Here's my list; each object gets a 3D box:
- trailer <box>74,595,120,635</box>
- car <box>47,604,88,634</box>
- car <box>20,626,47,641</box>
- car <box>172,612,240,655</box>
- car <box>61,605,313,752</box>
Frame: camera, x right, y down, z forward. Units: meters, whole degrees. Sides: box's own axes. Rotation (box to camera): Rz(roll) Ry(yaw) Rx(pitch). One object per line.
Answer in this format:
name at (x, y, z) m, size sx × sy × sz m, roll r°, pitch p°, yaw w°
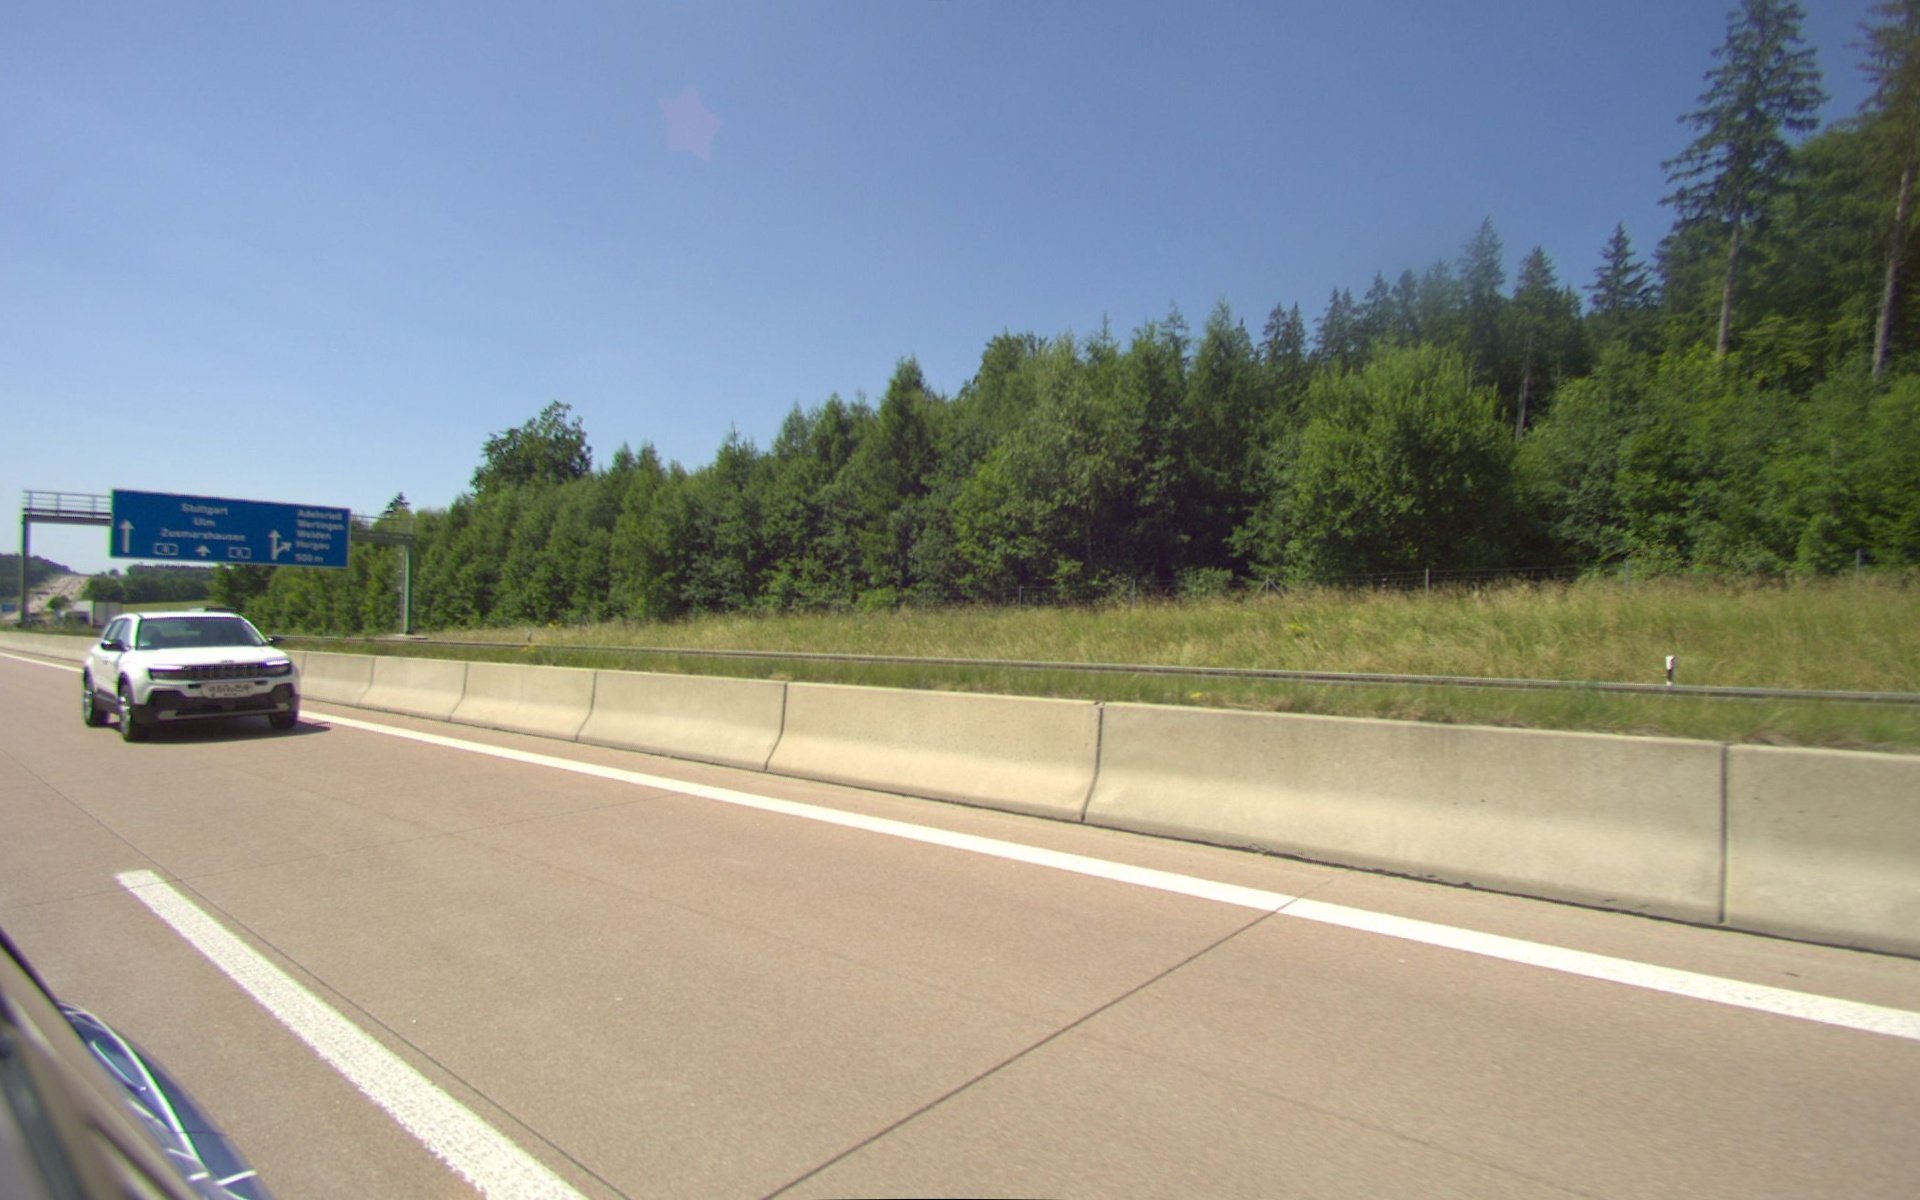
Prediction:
trailer at (-101.033, 1.784, 118.414) m, size 13.192 × 4.468 × 2.673 m, roll -2°, pitch -1°, yaw 43°
car at (-85.073, 1.815, 96.437) m, size 6.095 × 2.706 × 2.209 m, roll -2°, pitch -1°, yaw 41°
car at (-106.526, 3.847, 116.397) m, size 3.998 × 1.667 × 1.871 m, roll -2°, pitch -1°, yaw 41°
car at (-50.370, 2.197, 67.567) m, size 6.883 × 2.706 × 2.210 m, roll -2°, pitch -1°, yaw 41°
car at (-10.450, 0.909, 13.526) m, size 4.833 × 1.619 × 1.859 m, roll -1°, pitch -1°, yaw 42°
